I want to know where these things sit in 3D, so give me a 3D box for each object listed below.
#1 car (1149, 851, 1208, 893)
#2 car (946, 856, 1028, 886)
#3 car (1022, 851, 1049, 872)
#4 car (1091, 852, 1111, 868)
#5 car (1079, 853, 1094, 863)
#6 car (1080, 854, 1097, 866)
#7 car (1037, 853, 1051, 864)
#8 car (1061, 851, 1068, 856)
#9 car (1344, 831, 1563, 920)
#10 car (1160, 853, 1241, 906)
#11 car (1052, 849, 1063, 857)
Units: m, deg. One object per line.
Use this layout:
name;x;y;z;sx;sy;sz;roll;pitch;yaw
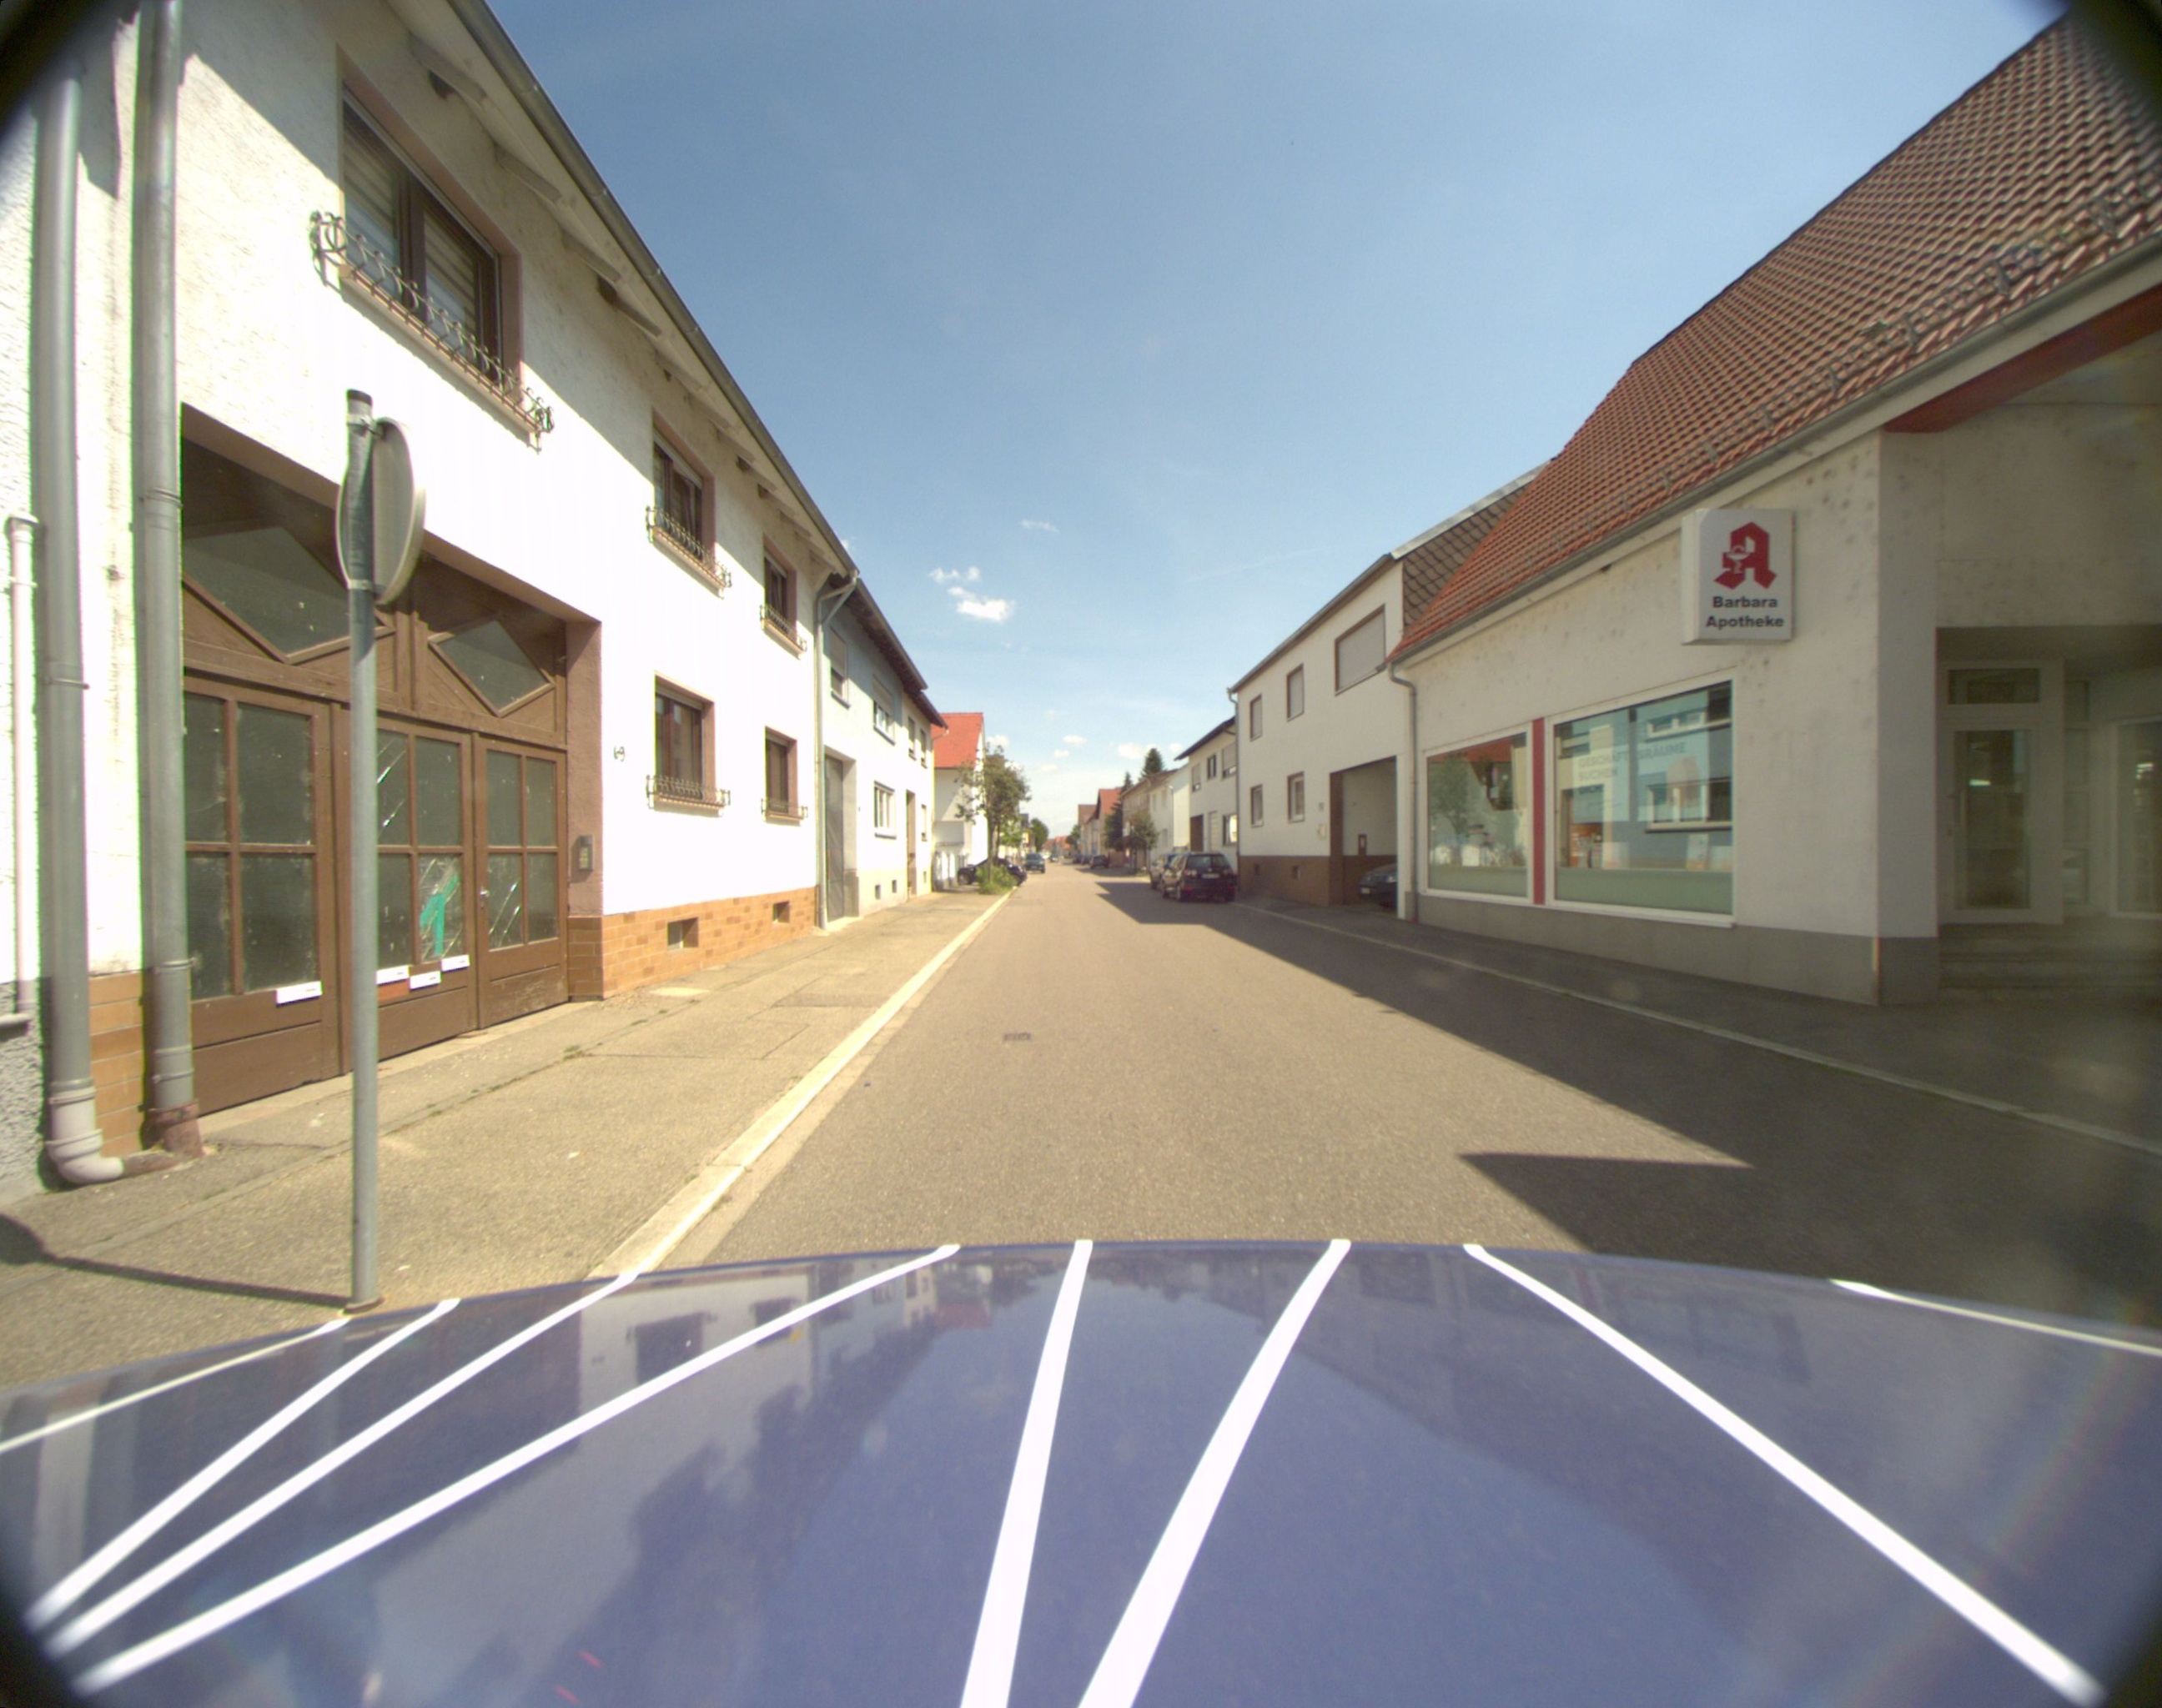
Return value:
car;3.974;0.696;31.698;1.759;1.608;4.119;-1;0;-2
car;-4.640;0.832;37.886;3.815;1.420;1.727;-1;1;2
car;-3.706;0.569;62.841;1.999;1.696;3.999;0;0;-1
car;2.085;0.623;80.491;1.852;1.689;3.999;-1;0;-2
car;0.795;0.574;119.057;1.999;1.570;3.998;-1;0;-4
car;0.946;0.749;101.054;1.855;1.543;3.998;-1;0;-4
car;-5.435;0.679;112.235;1.958;1.521;3.999;0;0;-2
car;-5.112;-0.213;236.575;1.904;1.683;3.999;-2;0;-1
car;8.289;0.455;17.171;3.997;1.708;1.814;-3;1;-1
car;3.797;0.756;24.724;1.752;1.557;3.953;-1;0;-4
car;-4.173;-0.199;137.949;1.958;1.521;3.999;0;0;-2
